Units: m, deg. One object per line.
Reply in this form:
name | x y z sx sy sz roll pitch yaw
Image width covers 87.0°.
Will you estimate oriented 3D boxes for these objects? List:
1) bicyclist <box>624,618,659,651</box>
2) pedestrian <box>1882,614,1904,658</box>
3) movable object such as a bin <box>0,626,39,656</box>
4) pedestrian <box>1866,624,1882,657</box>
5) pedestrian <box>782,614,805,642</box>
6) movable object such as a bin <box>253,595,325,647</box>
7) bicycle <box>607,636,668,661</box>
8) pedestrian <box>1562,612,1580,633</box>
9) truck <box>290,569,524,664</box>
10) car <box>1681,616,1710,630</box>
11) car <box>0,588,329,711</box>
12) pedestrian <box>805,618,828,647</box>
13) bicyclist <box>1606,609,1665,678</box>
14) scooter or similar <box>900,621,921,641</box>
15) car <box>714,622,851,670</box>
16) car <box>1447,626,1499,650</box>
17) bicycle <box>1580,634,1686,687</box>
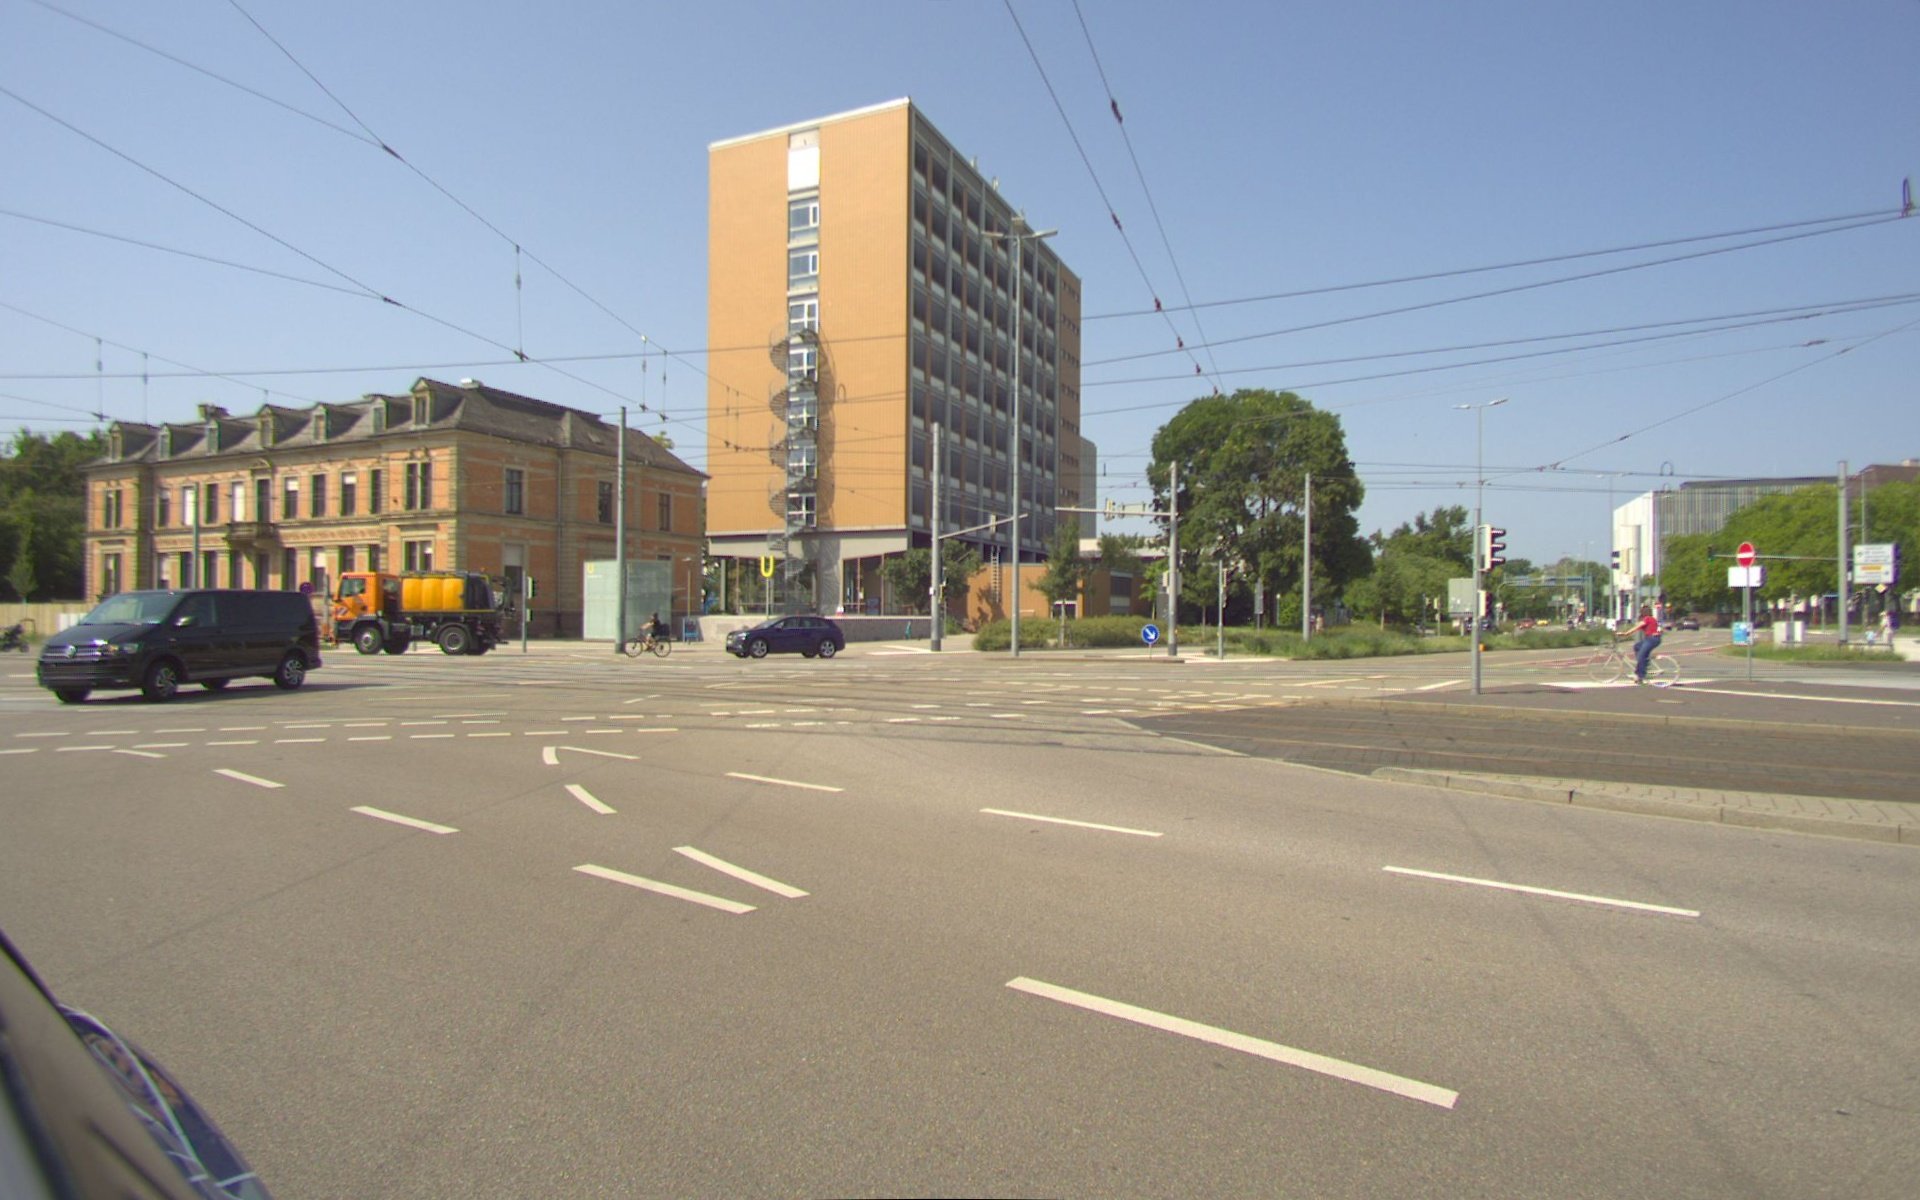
bicyclist | -12.247 1.321 38.904 1.087 1.275 0.859 1 -1 -30
pedestrian | 39.251 1.496 42.586 0.559 1.830 0.554 -1 -2 34
movable object such as a bin | -36.488 1.586 39.133 1.021 1.093 0.822 -1 -2 -11
pedestrian | 38.786 1.697 42.945 0.460 1.385 0.345 -1 -2 34
pedestrian | -8.240 1.383 50.179 0.786 1.405 0.837 -1 -1 39
movable object such as a bin | -35.655 1.105 53.751 4.447 2.692 1.796 -1 -1 37
bicycle | -12.317 1.839 38.702 2.133 0.906 0.643 1 -1 -30
pedestrian | 53.712 1.968 88.951 1.099 1.799 0.971 1 -1 -37
truck | -20.475 0.615 37.851 7.077 3.254 3.047 -1 -2 -8
car | 86.362 2.716 118.753 4.586 1.665 1.905 1 -2 -43
car | -14.364 0.799 18.732 1.879 1.945 4.873 1 0 8
pedestrian | -7.053 1.571 49.823 0.786 1.405 0.837 -1 -1 39
bicyclist | 15.199 0.961 22.769 0.980 1.470 0.866 1 0 41
scooter or similar | -2.816 1.755 57.422 1.127 1.166 0.444 1 -2 -38
car | -6.663 1.707 38.118 4.620 1.653 2.005 0 -3 -32
car | 41.400 3.047 81.674 3.933 1.807 2.005 0 -3 -34
bicycle | 15.145 1.340 22.811 1.912 1.077 0.606 1 0 41
